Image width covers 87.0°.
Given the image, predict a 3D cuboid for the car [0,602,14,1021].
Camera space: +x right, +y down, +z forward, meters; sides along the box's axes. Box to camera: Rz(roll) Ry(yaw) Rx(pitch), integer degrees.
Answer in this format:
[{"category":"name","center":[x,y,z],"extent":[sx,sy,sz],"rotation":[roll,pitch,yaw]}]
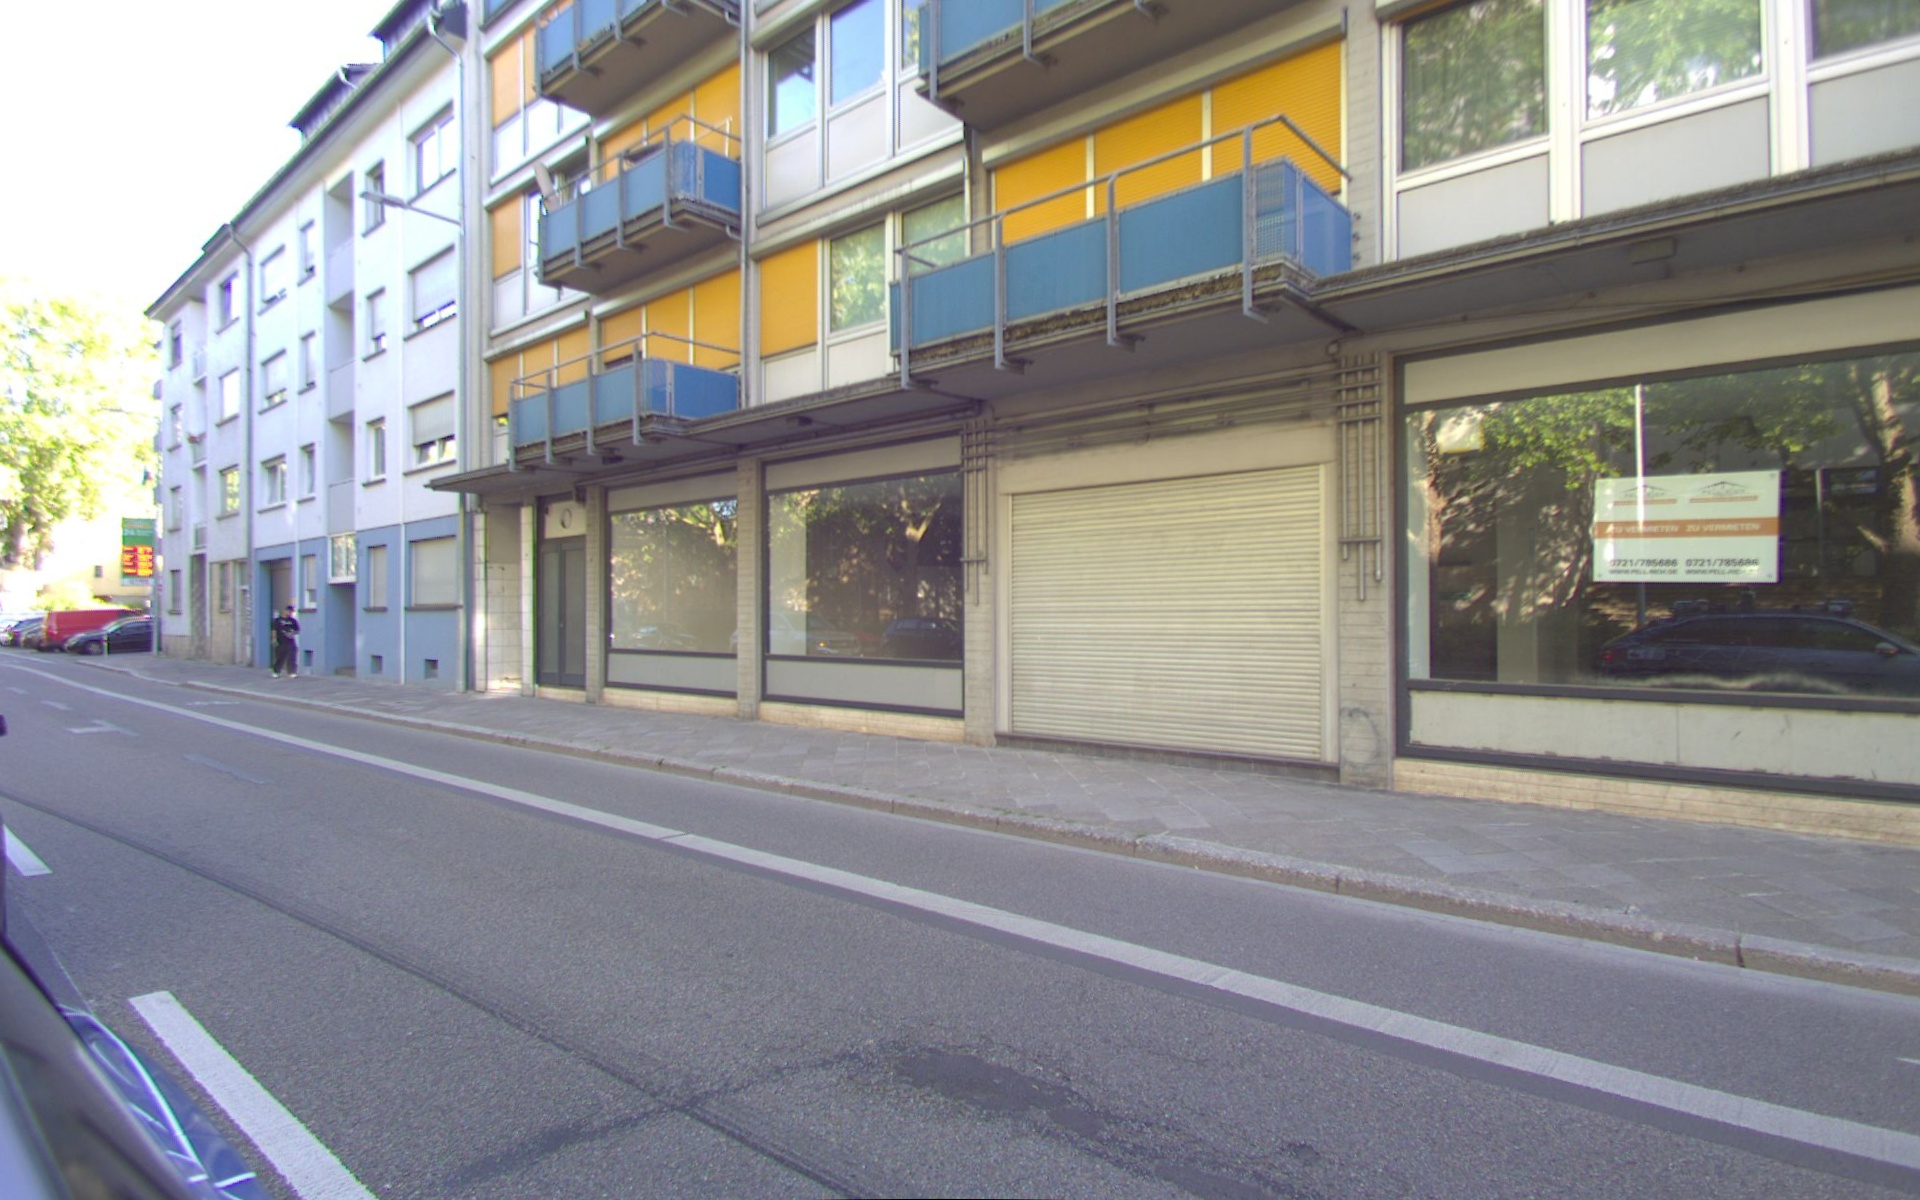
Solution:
[{"category":"car","center":[-5.655,0.796,4.409],"extent":[4.300,1.510,1.826],"rotation":[-1,-1,41]}]

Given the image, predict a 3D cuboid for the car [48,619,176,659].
[{"category":"car","center":[-38.200,1.729,45.660],"extent":[1.652,1.480,4.201],"rotation":[-1,1,41]}]

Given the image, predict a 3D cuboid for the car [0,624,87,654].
[{"category":"car","center":[-54.510,2.276,59.793],"extent":[1.652,1.480,4.201],"rotation":[-1,1,41]}]

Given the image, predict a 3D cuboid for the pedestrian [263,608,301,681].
[{"category":"pedestrian","center":[-16.267,1.057,24.291],"extent":[0.655,1.708,0.604],"rotation":[-2,-1,41]}]

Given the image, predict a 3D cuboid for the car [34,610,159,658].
[{"category":"car","center":[-40.581,1.556,47.622],"extent":[1.817,1.933,4.202],"rotation":[-1,1,40]}]

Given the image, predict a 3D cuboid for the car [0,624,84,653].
[{"category":"car","center":[-55.892,2.296,61.201],"extent":[1.652,1.480,4.201],"rotation":[-1,1,41]}]

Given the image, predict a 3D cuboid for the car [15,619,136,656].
[{"category":"car","center":[-42.769,1.788,49.018],"extent":[1.652,1.480,4.201],"rotation":[-1,1,41]}]

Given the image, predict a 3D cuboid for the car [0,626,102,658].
[{"category":"car","center":[-50.477,2.290,56.108],"extent":[1.652,1.480,4.201],"rotation":[-1,1,41]}]

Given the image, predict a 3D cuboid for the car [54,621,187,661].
[{"category":"car","center":[-36.507,1.742,44.097],"extent":[1.652,1.411,4.201],"rotation":[-1,1,41]}]
